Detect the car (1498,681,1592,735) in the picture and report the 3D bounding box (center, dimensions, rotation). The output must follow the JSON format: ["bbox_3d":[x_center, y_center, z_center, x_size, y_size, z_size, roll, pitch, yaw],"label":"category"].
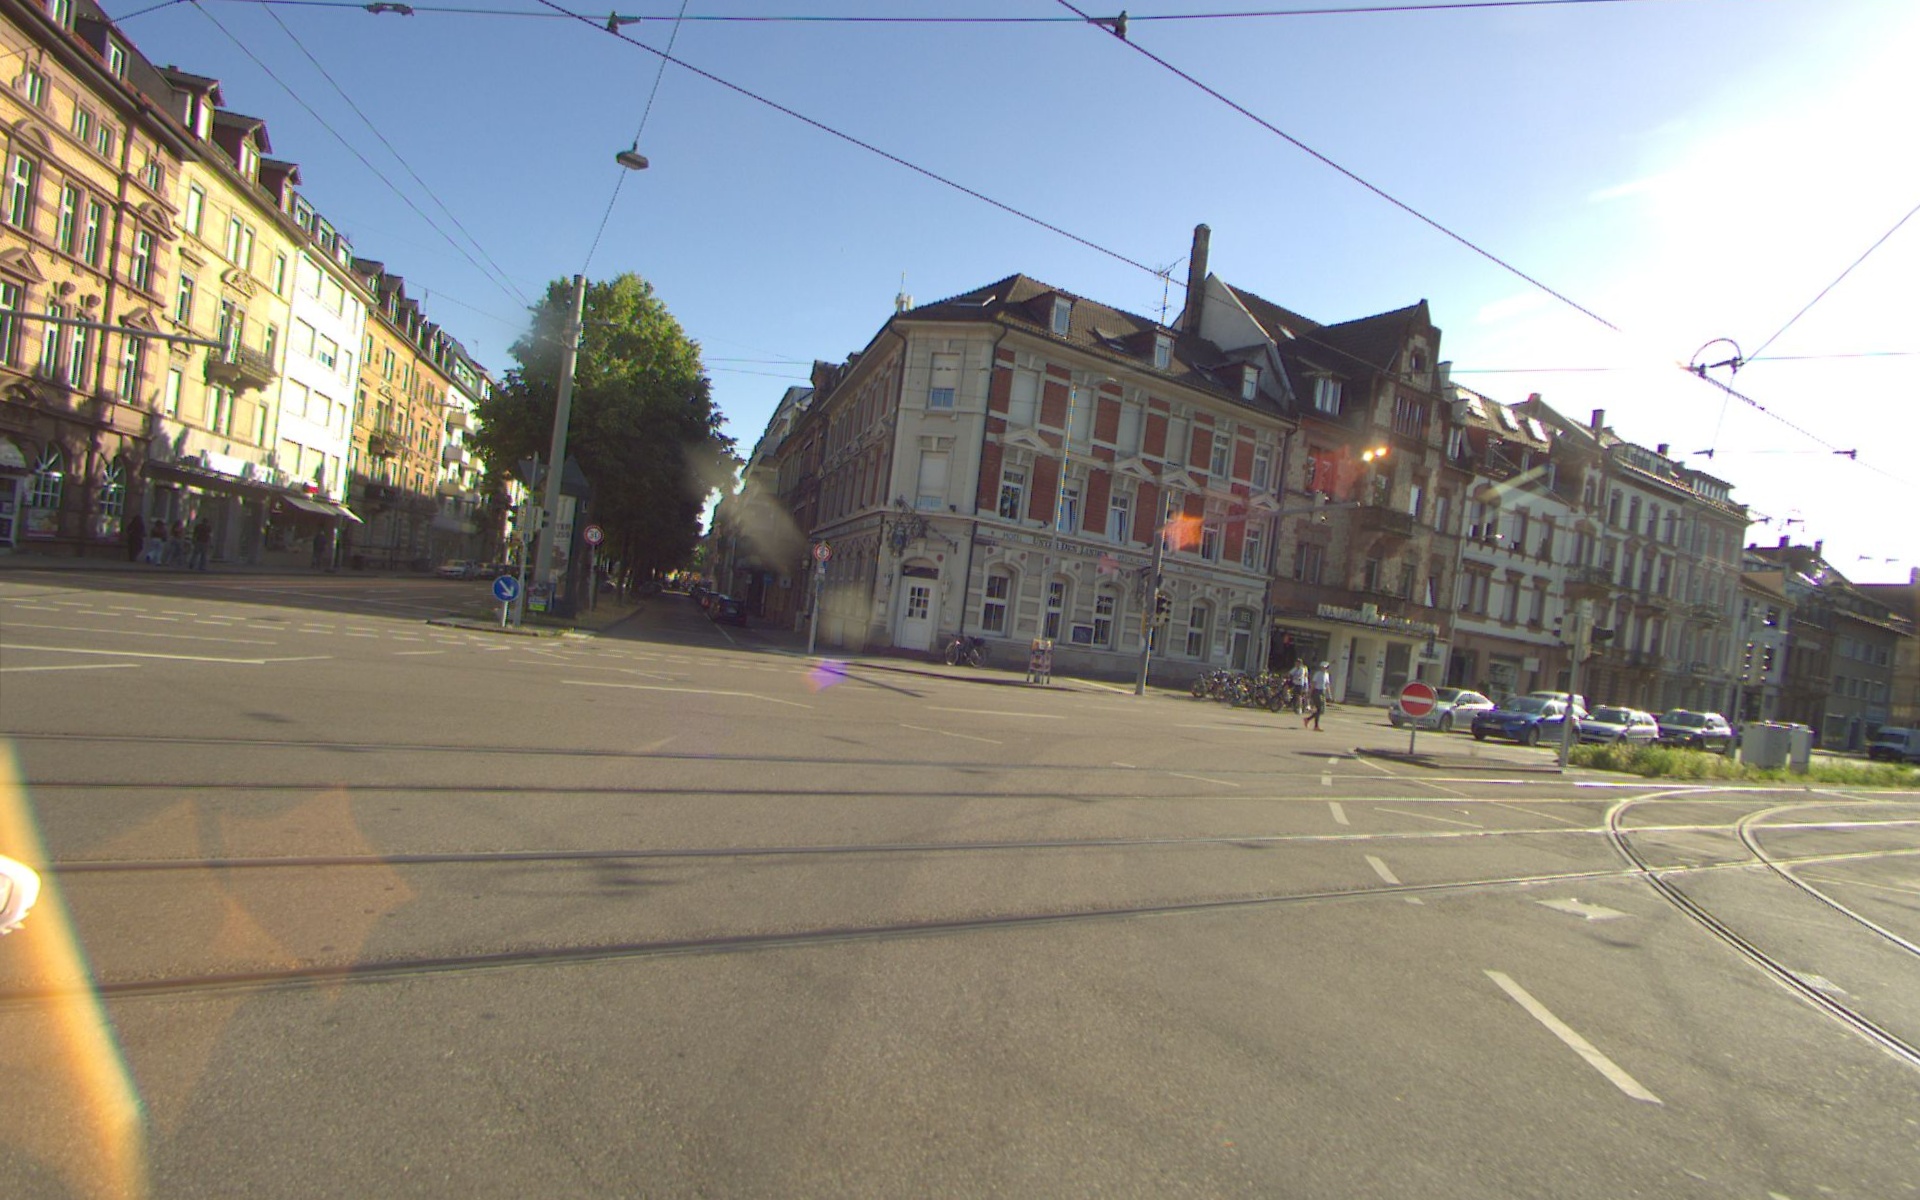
[{"bbox_3d":[27.154,5.028,46.649,4.377,1.989,1.937,8,-1,-34],"label":"car"}]

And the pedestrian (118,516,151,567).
[{"bbox_3d":[-28.646,-2.028,34.928,0.620,1.662,0.535,7,0,-22],"label":"pedestrian"}]

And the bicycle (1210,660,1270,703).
[{"bbox_3d":[9.623,2.793,34.681,0.672,1.205,1.951,7,0,-32],"label":"bicycle"}]

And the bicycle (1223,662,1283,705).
[{"bbox_3d":[10.178,2.902,35.046,0.672,1.205,1.951,7,0,-32],"label":"bicycle"}]

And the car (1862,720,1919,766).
[{"bbox_3d":[70.473,10.802,75.860,5.905,2.944,2.182,8,-1,-35],"label":"car"}]

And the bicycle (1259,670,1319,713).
[{"bbox_3d":[10.711,2.992,32.730,1.946,1.205,0.597,7,0,-31],"label":"bicycle"}]

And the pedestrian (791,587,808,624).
[{"bbox_3d":[-7.777,0.260,48.727,0.583,1.656,0.578,7,-7,-14],"label":"pedestrian"}]

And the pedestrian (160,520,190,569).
[{"bbox_3d":[-28.142,-1.983,36.089,0.545,1.662,0.630,7,0,-22],"label":"pedestrian"}]

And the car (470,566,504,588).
[{"bbox_3d":[-39.634,-1.946,84.450,1.971,1.515,4.018,7,-1,-19],"label":"car"}]

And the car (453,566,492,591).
[{"bbox_3d":[-36.241,-1.590,74.889,1.971,1.515,4.018,7,-1,-19],"label":"car"}]

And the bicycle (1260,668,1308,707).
[{"bbox_3d":[11.408,3.086,35.394,1.956,1.205,0.671,8,-1,-45],"label":"bicycle"}]

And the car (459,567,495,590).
[{"bbox_3d":[-38.040,-1.690,79.297,1.971,1.515,4.018,7,-1,-19],"label":"car"}]

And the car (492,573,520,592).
[{"bbox_3d":[-44.207,-1.708,98.024,1.971,1.515,4.018,7,-1,-19],"label":"car"}]

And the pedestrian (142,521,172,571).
[{"bbox_3d":[-28.149,-1.885,35.252,0.545,1.662,0.535,7,0,-22],"label":"pedestrian"}]

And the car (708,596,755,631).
[{"bbox_3d":[-12.483,0.693,54.734,1.971,1.515,4.018,7,-1,-19],"label":"car"}]

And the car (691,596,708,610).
[{"bbox_3d":[-33.335,0.346,128.774,1.969,1.515,4.021,7,-1,-15],"label":"car"}]

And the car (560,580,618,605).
[{"bbox_3d":[-30.284,-0.602,82.160,3.929,1.564,1.999,7,0,-5],"label":"car"}]

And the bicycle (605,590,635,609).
[{"bbox_3d":[-22.932,-0.031,67.823,1.913,1.080,0.583,7,0,21],"label":"bicycle"}]

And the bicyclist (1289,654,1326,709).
[{"bbox_3d":[11.940,2.805,34.559,0.897,1.785,0.596,7,0,-33],"label":"bicyclist"}]

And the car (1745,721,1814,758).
[{"bbox_3d":[51.551,8.786,63.257,4.758,1.884,1.937,8,-1,-34],"label":"car"}]

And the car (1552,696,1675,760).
[{"bbox_3d":[21.981,4.327,33.803,3.962,1.688,1.937,8,-1,-34],"label":"car"}]

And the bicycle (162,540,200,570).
[{"bbox_3d":[-30.454,-1.740,39.354,0.489,1.080,1.764,7,-1,-16],"label":"bicycle"}]

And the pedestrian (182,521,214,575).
[{"bbox_3d":[-27.697,-1.881,36.560,0.573,1.858,0.630,7,0,-17],"label":"pedestrian"}]

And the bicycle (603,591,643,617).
[{"bbox_3d":[-17.384,0.213,51.889,1.913,1.080,0.583,7,0,21],"label":"bicycle"}]

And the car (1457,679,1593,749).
[{"bbox_3d":[17.367,3.504,30.876,3.962,1.688,1.937,8,-1,-34],"label":"car"}]

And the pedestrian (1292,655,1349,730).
[{"bbox_3d":[8.865,2.265,24.745,0.711,1.690,0.930,7,0,-36],"label":"pedestrian"}]

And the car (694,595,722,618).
[{"bbox_3d":[-19.984,0.490,79.753,1.969,1.515,4.021,7,-1,-15],"label":"car"}]

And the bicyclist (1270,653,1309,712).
[{"bbox_3d":[10.699,2.675,32.686,0.866,1.785,0.597,7,0,-31],"label":"bicyclist"}]

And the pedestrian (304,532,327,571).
[{"bbox_3d":[-33.066,-2.481,51.606,0.674,1.932,0.630,7,0,-17],"label":"pedestrian"}]

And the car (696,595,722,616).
[{"bbox_3d":[-22.105,0.476,88.493,1.969,1.515,4.021,7,-1,-15],"label":"car"}]

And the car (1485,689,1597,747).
[{"bbox_3d":[21.500,4.372,37.185,3.962,1.688,1.937,8,-1,-34],"label":"car"}]

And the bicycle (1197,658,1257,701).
[{"bbox_3d":[9.089,2.711,34.324,0.672,1.205,1.951,7,0,-32],"label":"bicycle"}]

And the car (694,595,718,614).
[{"bbox_3d":[-24.192,0.433,95.665,1.969,1.515,4.021,7,-1,-15],"label":"car"}]

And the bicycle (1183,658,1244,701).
[{"bbox_3d":[8.521,2.664,33.917,0.672,1.205,1.951,7,0,-32],"label":"bicycle"}]

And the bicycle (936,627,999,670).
[{"bbox_3d":[0.239,1.603,33.171,1.945,1.205,0.542,7,0,-29],"label":"bicycle"}]

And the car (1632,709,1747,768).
[{"bbox_3d":[26.927,5.113,37.096,4.444,1.688,1.937,8,-1,-34],"label":"car"}]

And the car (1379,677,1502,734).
[{"bbox_3d":[15.972,3.517,33.394,3.962,1.429,1.829,8,-1,-34],"label":"car"}]

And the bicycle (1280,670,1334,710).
[{"bbox_3d":[11.923,3.097,34.574,1.948,1.205,0.596,7,0,-34],"label":"bicycle"}]
